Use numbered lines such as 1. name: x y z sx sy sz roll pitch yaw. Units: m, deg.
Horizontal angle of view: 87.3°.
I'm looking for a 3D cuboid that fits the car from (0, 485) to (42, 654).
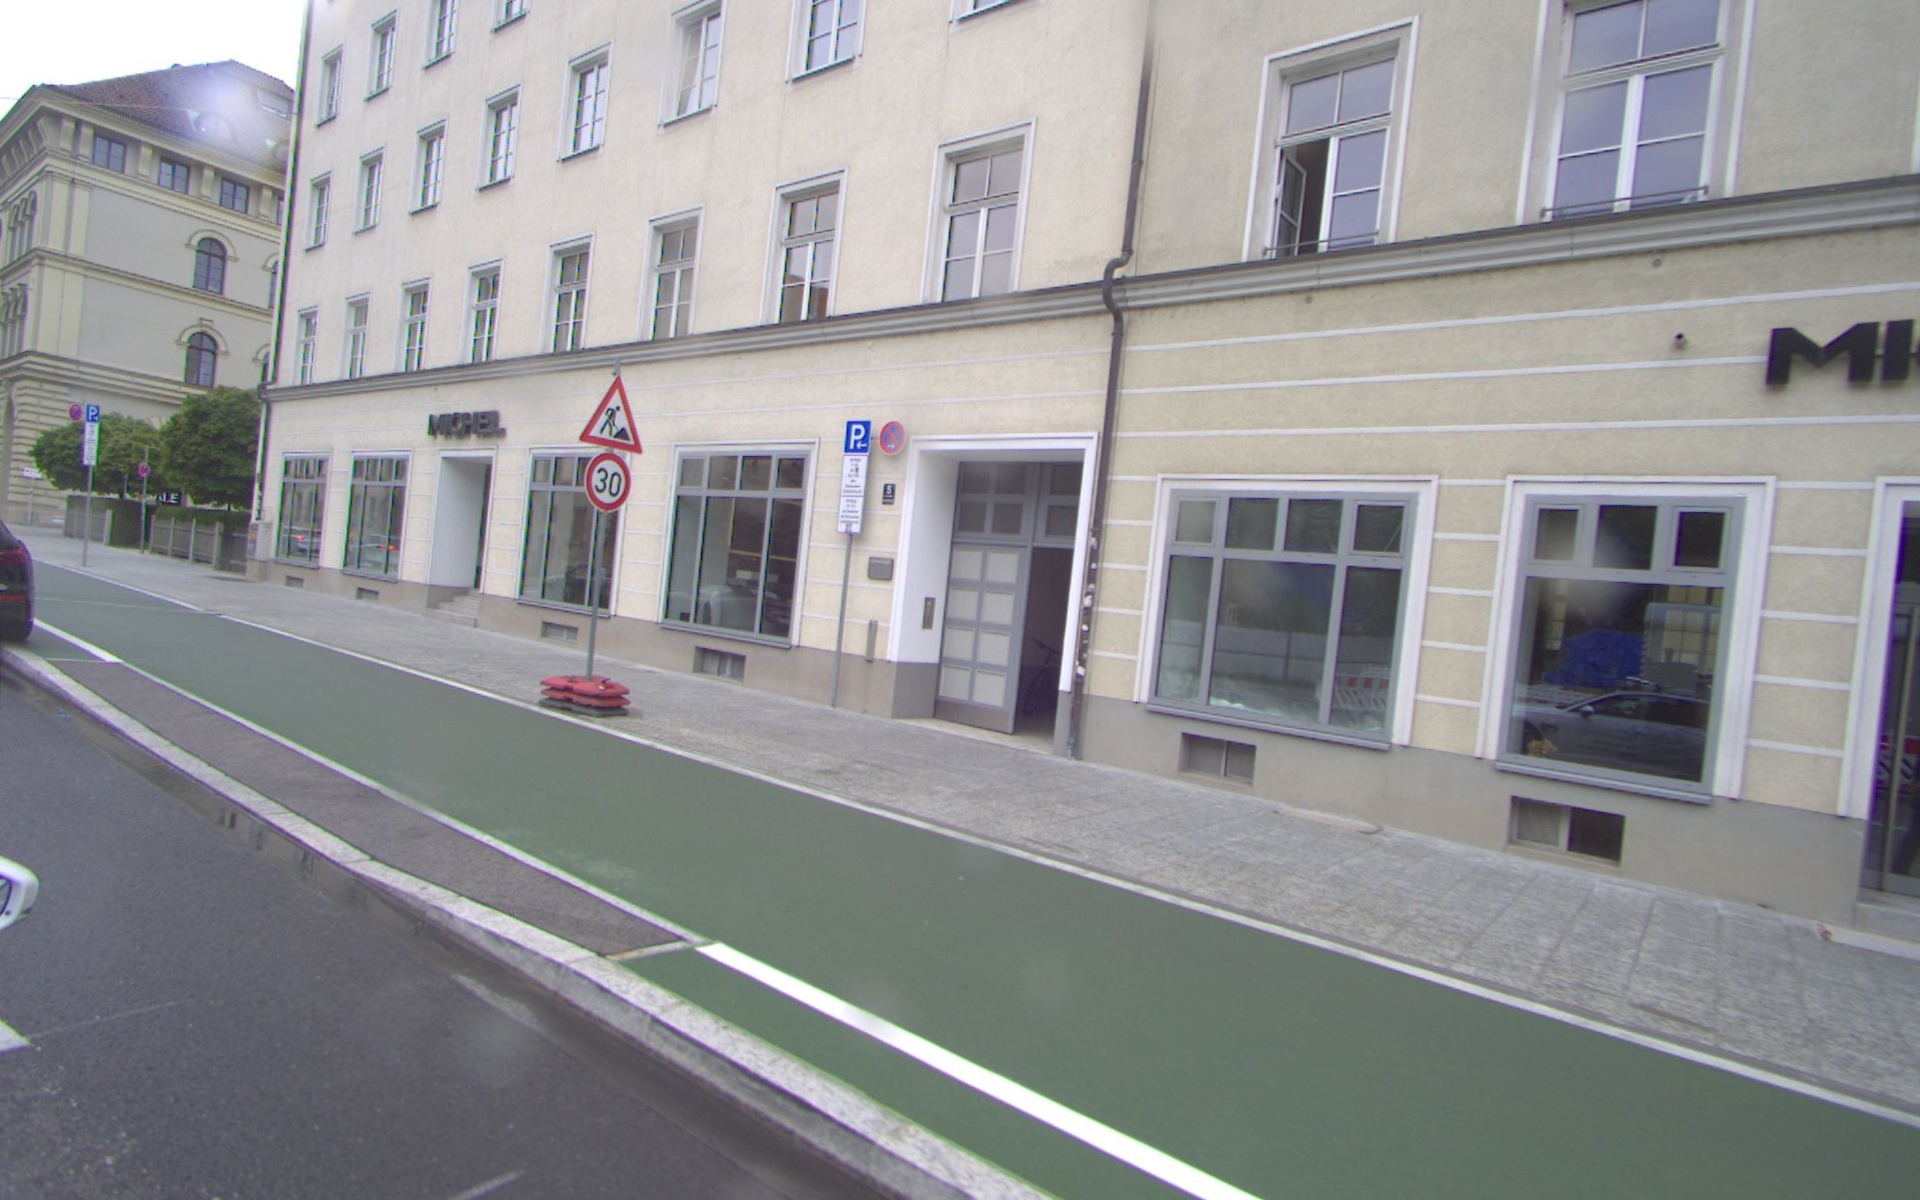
1. car: -10.706 -0.466 9.821 4.394 1.501 1.805 7 4 37
